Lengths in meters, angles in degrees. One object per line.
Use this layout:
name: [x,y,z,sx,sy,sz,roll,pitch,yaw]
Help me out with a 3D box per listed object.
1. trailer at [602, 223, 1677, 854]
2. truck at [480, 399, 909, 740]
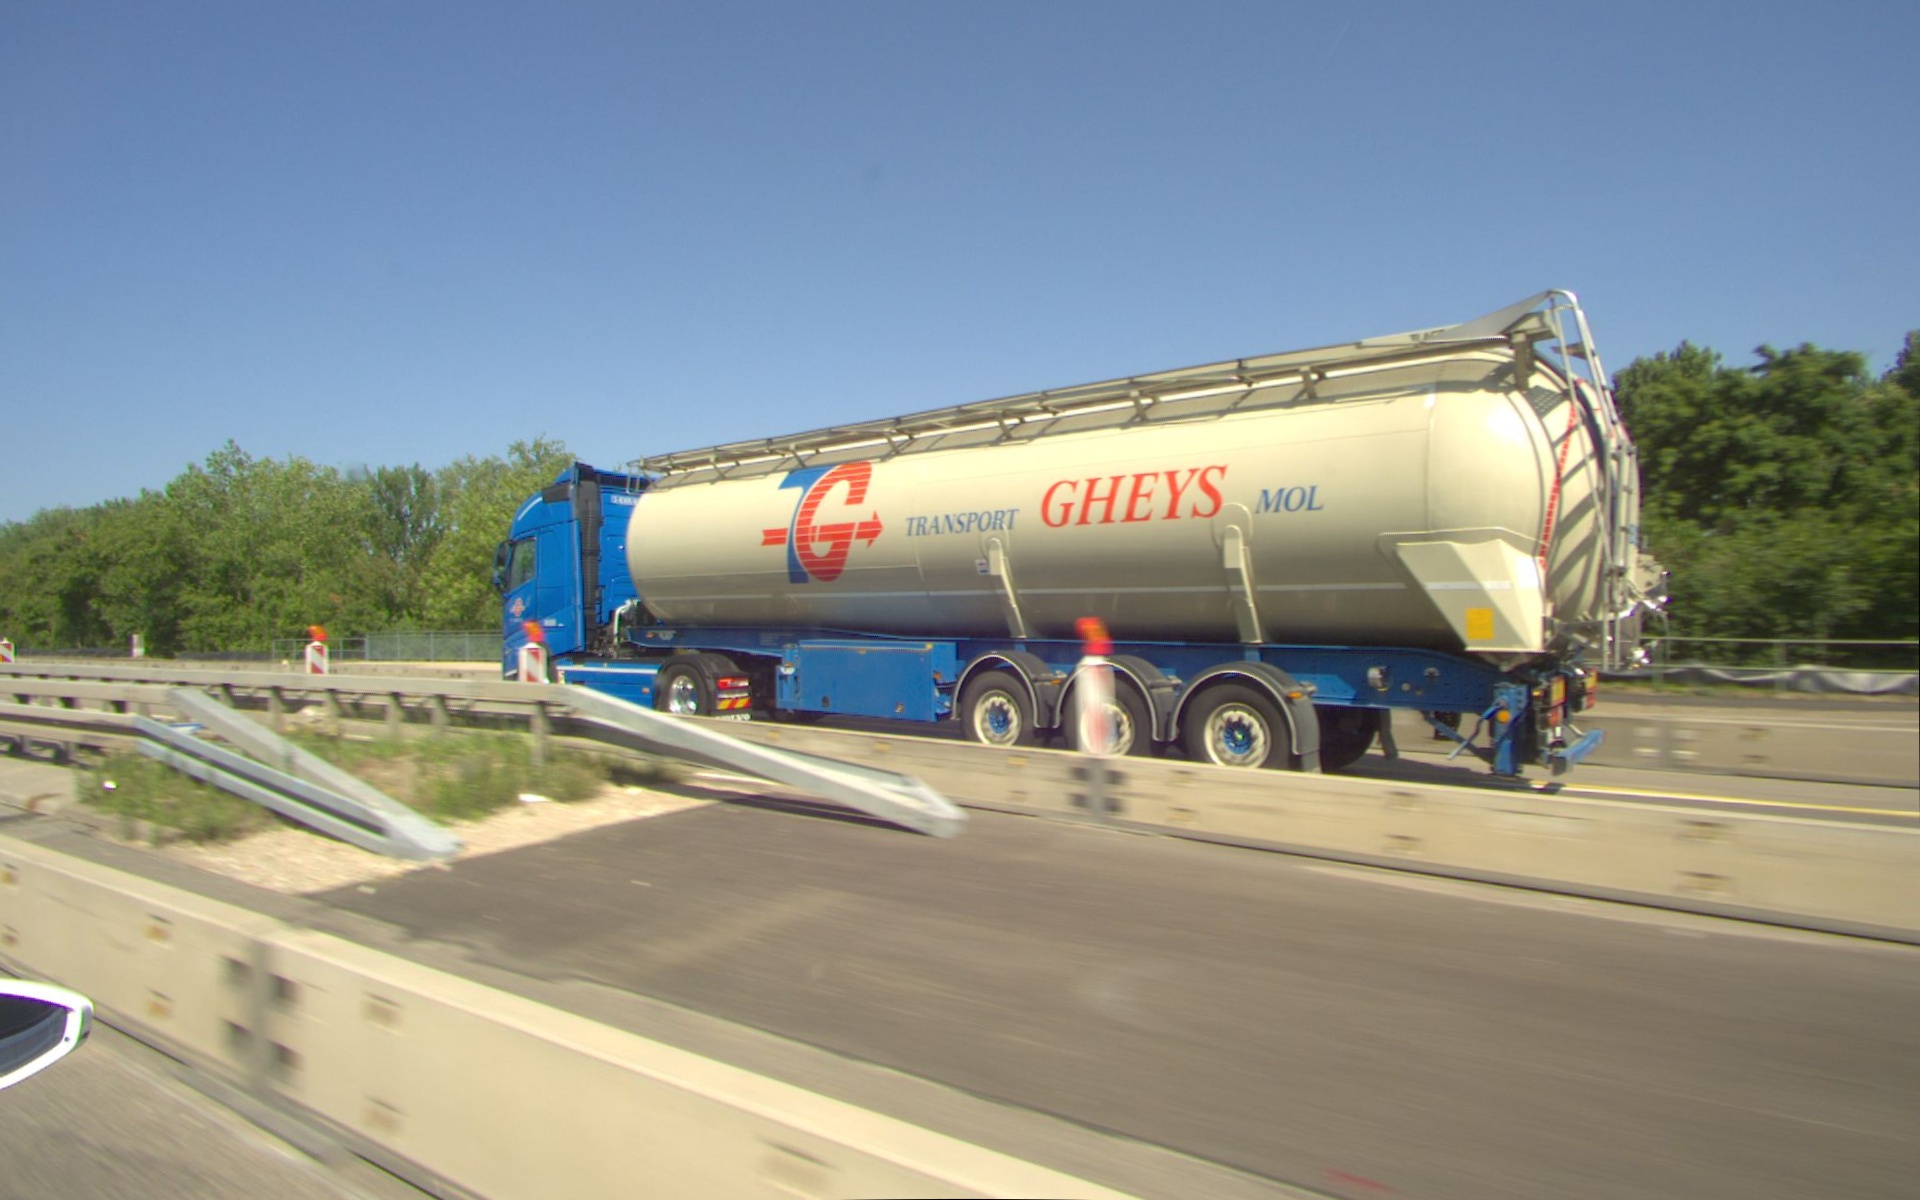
trailer: [0.573,-0.275,11.588,12.459,4.191,2.683,-1,0,38]
truck: [-4.381,-0.291,15.547,7.212,4.156,2.683,-1,0,39]
